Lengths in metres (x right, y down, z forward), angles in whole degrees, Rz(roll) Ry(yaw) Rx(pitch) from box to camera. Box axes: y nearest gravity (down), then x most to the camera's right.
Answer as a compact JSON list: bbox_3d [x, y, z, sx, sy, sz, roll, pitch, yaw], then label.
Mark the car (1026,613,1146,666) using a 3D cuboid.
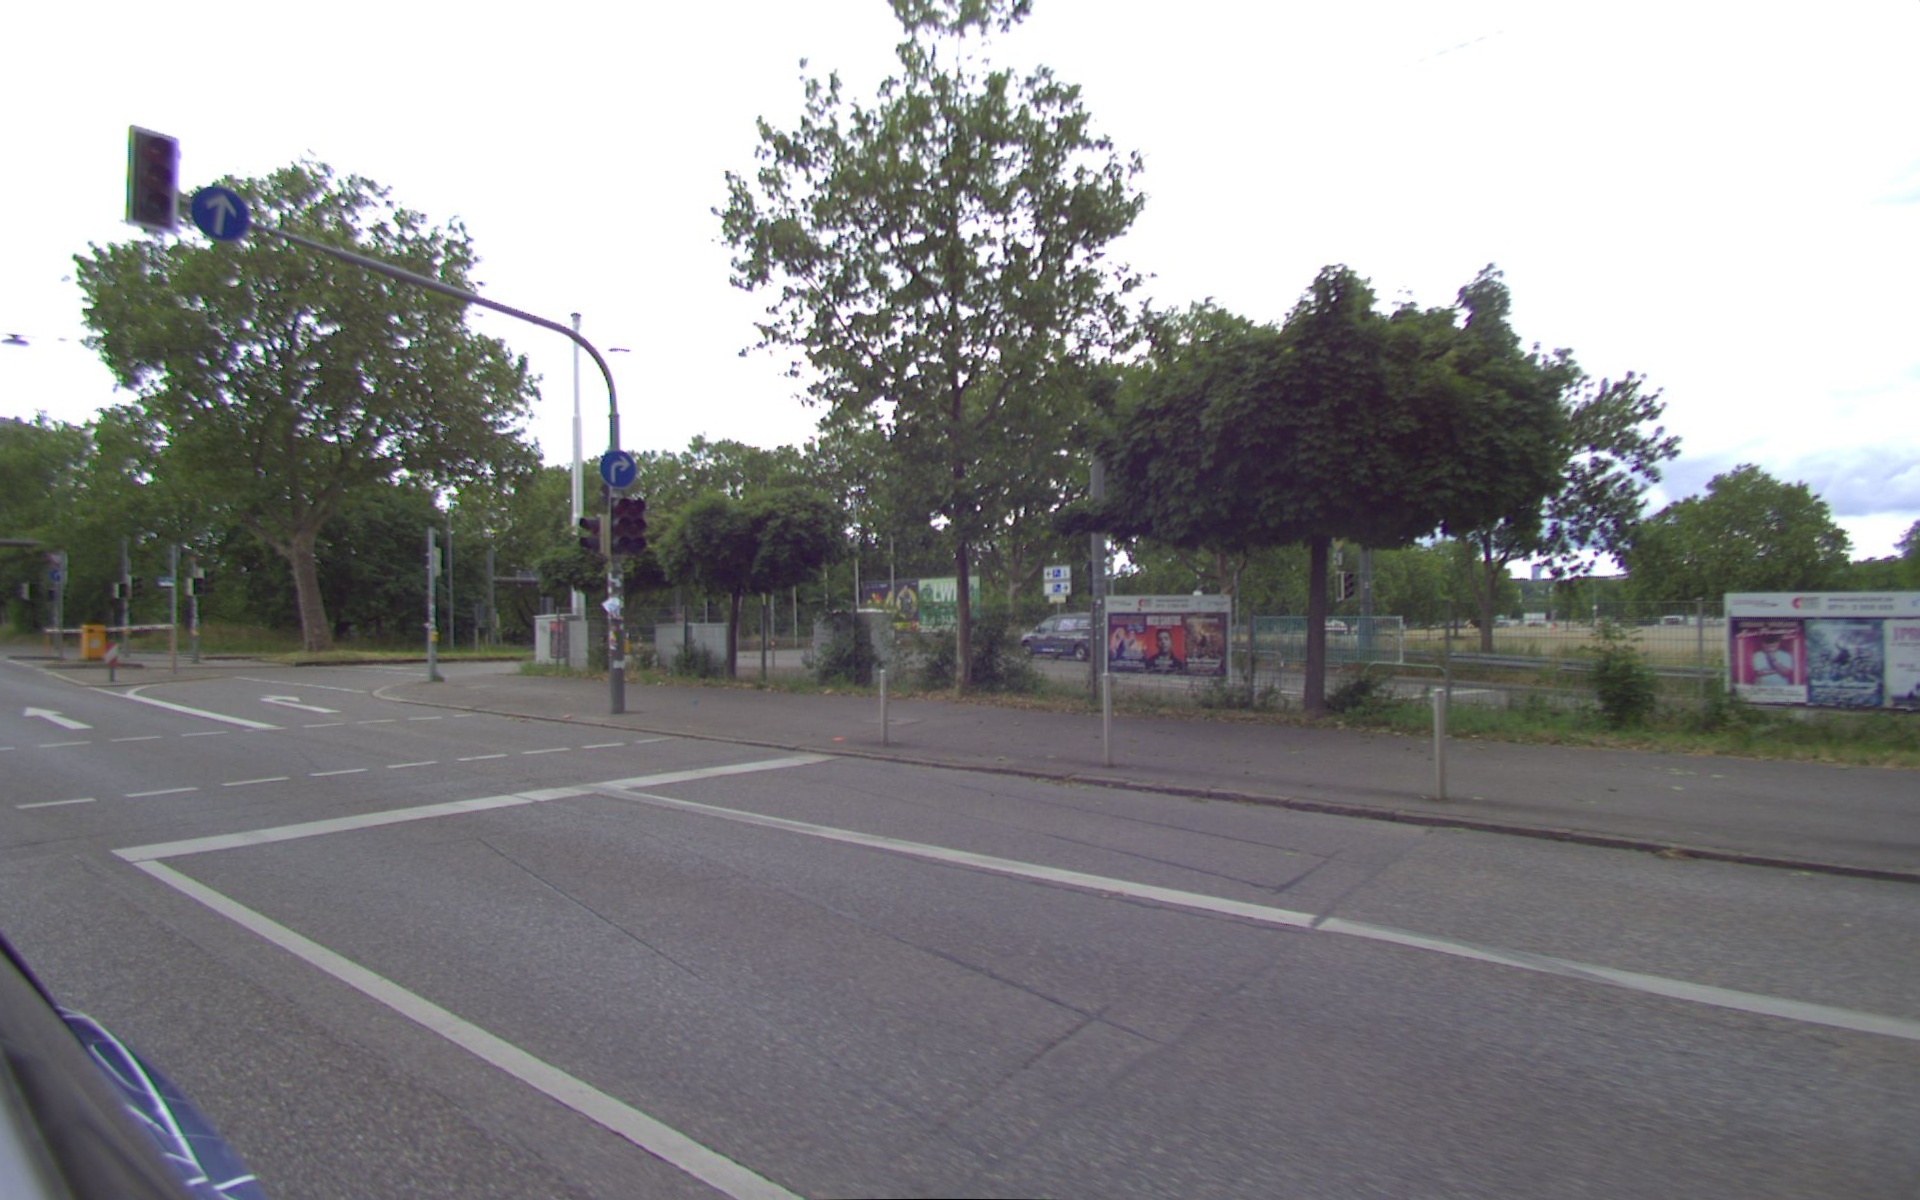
[{"bbox_3d":[4.735,1.459,38.691,1.857,1.849,4.602,-1,0,-37],"label":"car"}]
